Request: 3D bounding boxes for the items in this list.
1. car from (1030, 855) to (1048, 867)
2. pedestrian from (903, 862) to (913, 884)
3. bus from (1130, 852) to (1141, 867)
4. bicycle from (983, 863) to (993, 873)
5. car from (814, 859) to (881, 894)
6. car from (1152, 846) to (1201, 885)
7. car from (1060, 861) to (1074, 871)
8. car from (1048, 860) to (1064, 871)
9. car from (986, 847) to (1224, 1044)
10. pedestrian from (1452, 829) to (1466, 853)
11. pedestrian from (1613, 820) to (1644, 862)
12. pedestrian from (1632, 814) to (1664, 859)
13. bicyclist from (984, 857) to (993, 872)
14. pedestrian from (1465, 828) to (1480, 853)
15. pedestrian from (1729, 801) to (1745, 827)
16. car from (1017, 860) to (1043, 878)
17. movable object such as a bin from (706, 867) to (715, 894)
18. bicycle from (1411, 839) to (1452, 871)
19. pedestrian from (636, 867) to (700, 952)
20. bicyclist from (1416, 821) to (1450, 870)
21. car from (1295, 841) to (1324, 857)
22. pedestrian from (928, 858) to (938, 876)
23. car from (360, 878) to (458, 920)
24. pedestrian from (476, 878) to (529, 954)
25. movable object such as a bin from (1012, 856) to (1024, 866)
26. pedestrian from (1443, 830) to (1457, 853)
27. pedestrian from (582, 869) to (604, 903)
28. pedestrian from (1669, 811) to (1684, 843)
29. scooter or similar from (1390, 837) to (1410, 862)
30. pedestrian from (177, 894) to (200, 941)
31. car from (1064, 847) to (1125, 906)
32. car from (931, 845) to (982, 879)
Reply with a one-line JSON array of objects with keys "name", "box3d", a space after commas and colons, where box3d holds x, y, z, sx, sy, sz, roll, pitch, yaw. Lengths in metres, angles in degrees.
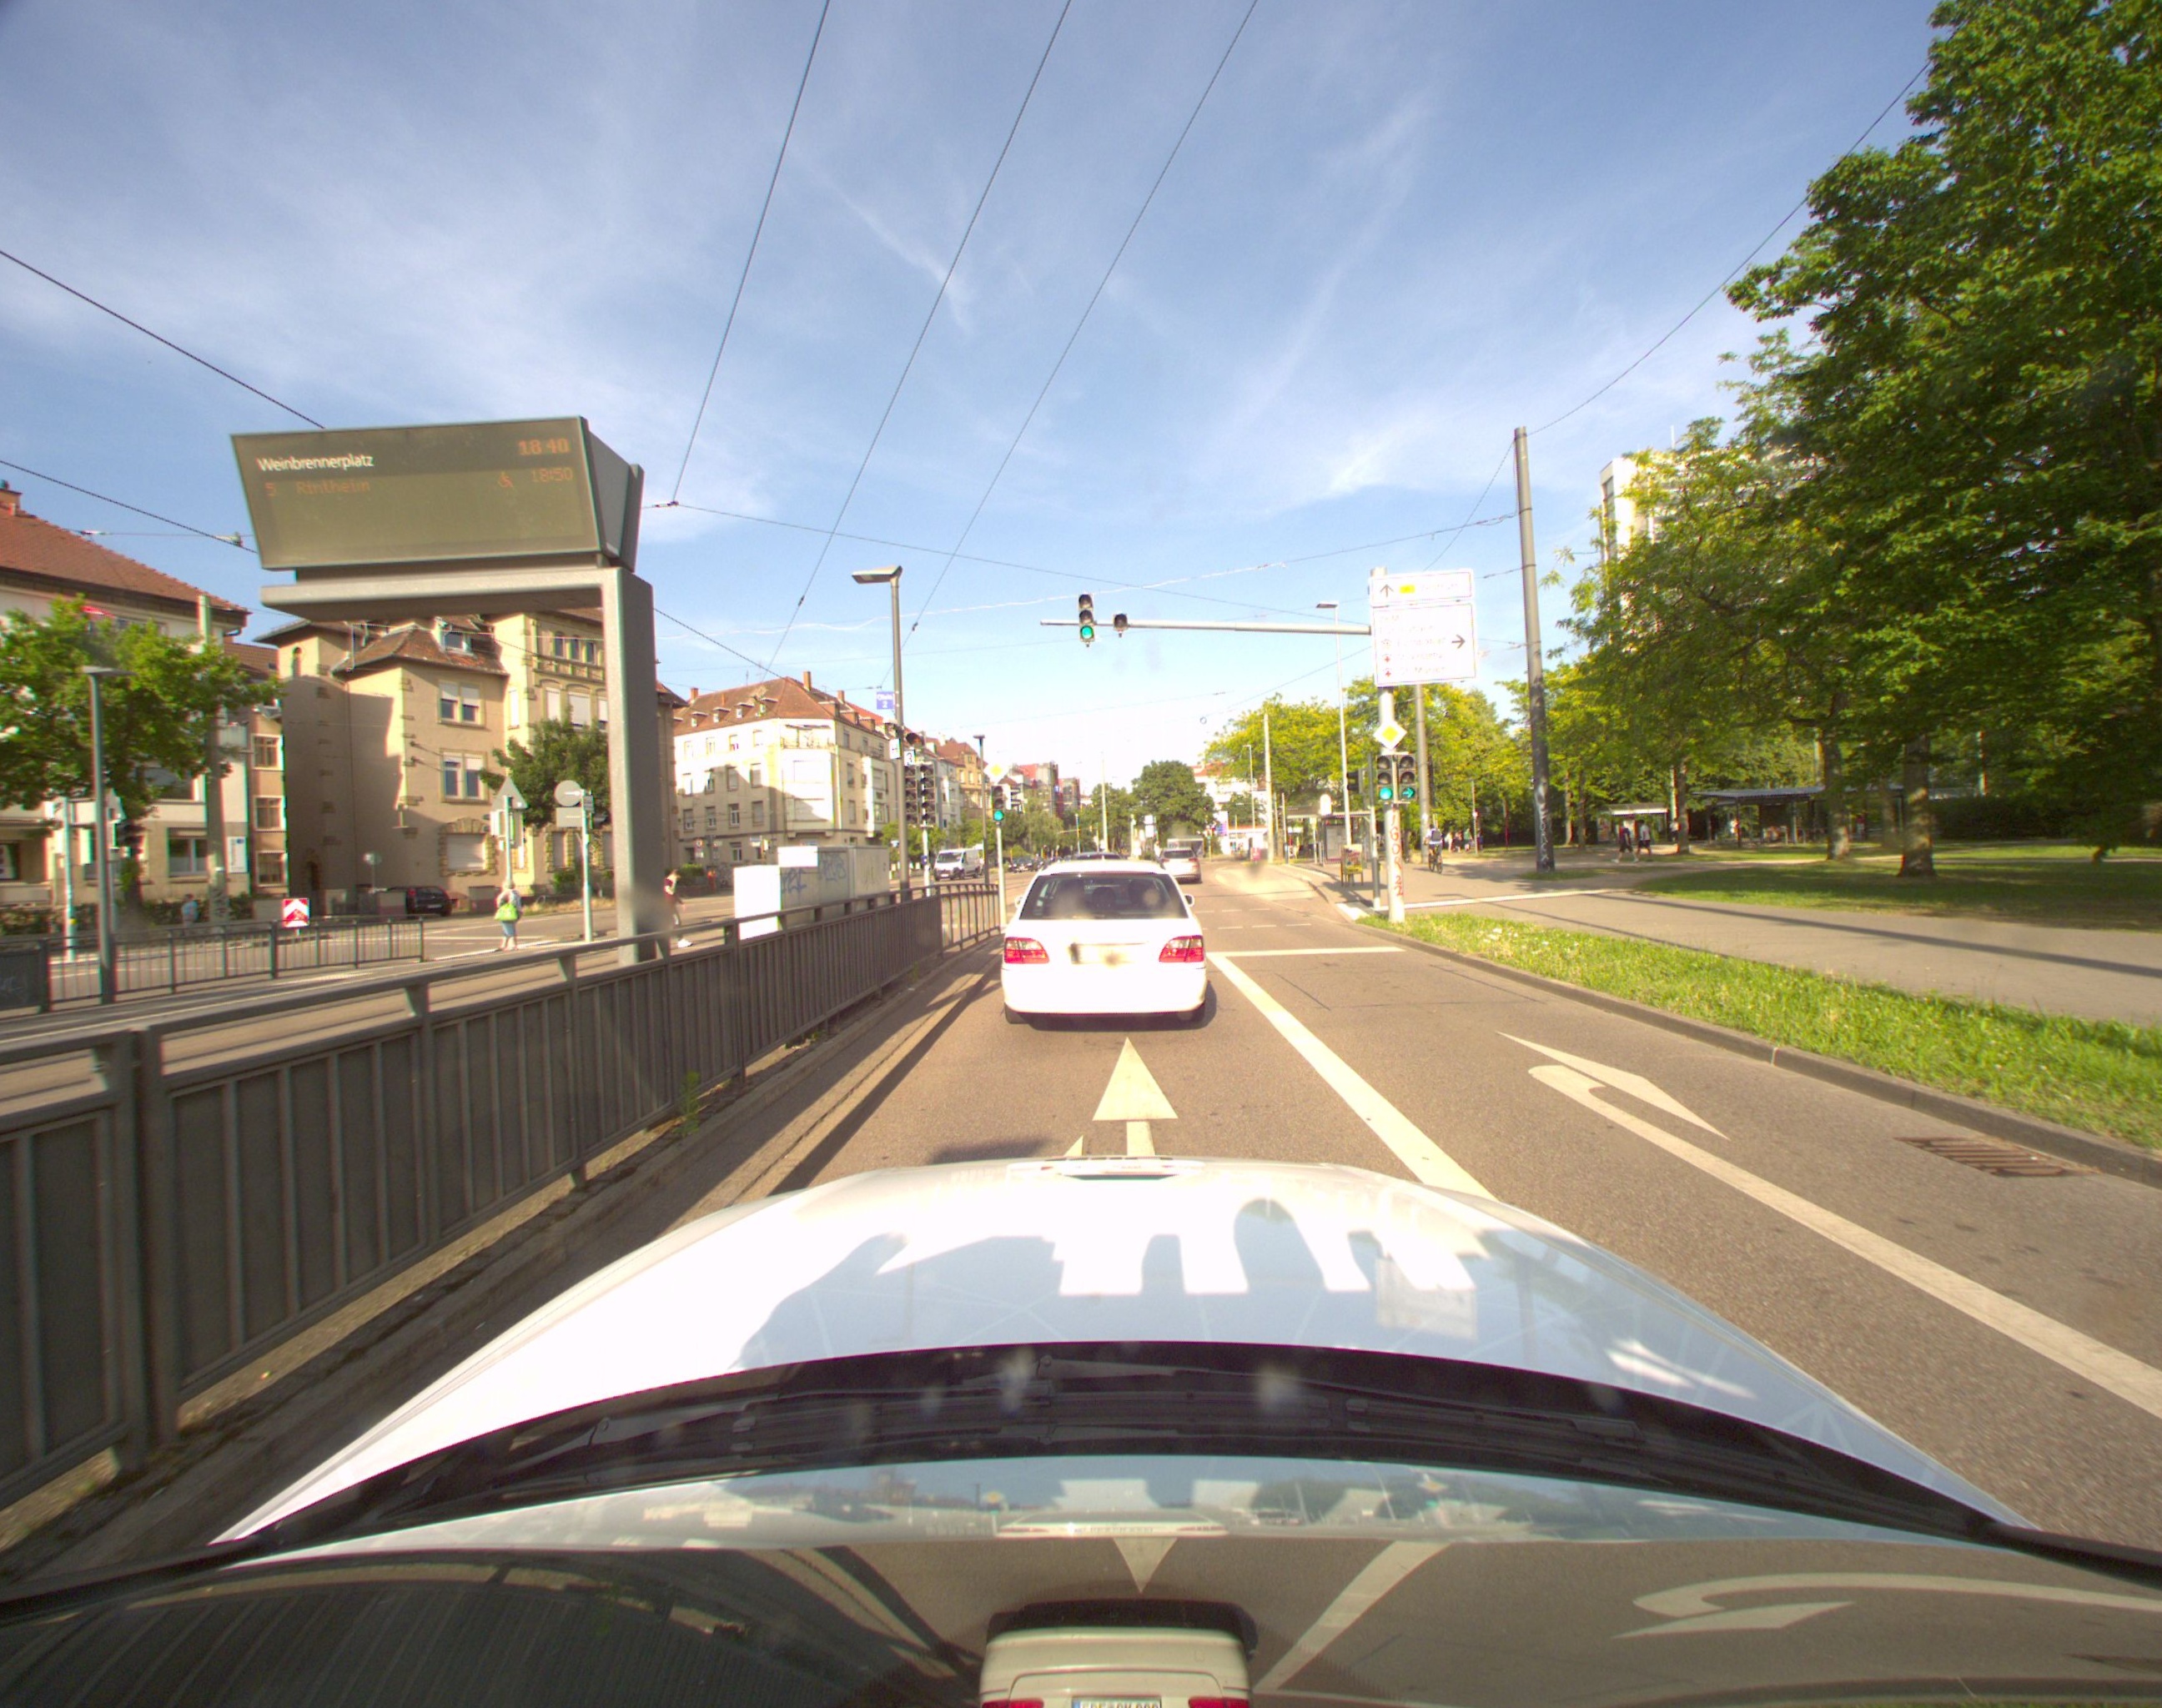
[{"name": "car", "box3d": [-5.305, 0.875, 103.195, 1.626, 1.433, 3.634, -3, 0, 6]}, {"name": "pedestrian", "box3d": [-14.758, 1.632, 69.473, 0.581, 1.881, 0.627, -3, 0, 5]}, {"name": "bus", "box3d": [9.500, 0.895, 141.221, 1.790, 2.555, 4.004, 0, -1, 4]}, {"name": "bicycle", "box3d": [-10.210, 1.564, 89.732, 0.765, 0.965, 2.036, -3, 0, 3]}, {"name": "car", "box3d": [-12.038, 1.128, 42.199, 1.667, 1.526, 4.135, -3, 1, 9]}, {"name": "car", "box3d": [4.209, 0.496, 36.309, 1.828, 1.600, 3.816, -1, 0, 2]}, {"name": "car", "box3d": [-2.137, 1.836, 126.563, 1.680, 1.420, 4.006, -3, -1, 5]}, {"name": "car", "box3d": [-3.557, 1.600, 117.452, 1.681, 1.441, 4.007, -3, 0, 6]}, {"name": "car", "box3d": [0.245, 0.715, 8.250, 1.828, 1.501, 3.816, -1, 0, 2]}, {"name": "pedestrian", "box3d": [27.100, -0.953, 58.401, 0.638, 1.665, 0.691, -3, 0, 1]}, {"name": "pedestrian", "box3d": [23.437, -0.565, 34.888, 0.673, 1.777, 0.875, 0, 0, -18]}, {"name": "pedestrian", "box3d": [24.311, -0.740, 34.929, 0.674, 1.897, 0.872, 0, -1, -26]}, {"name": "bicyclist", "box3d": [-10.221, 1.150, 89.917, 0.757, 1.668, 1.168, -3, 0, 3]}, {"name": "pedestrian", "box3d": [27.603, -0.947, 57.428, 0.638, 1.665, 0.691, -3, 0, 1]}, {"name": "pedestrian", "box3d": [47.537, -2.882, 59.036, 0.666, 1.800, 0.613, -1, -1, 15]}, {"name": "car", "box3d": [-4.931, 1.458, 79.240, 1.758, 1.494, 4.752, -3, 1, 6]}, {"name": "movable object such as a bin", "box3d": [-23.713, 1.690, 52.090, 0.265, 1.709, 2.360, -3, 0, -29]}, {"name": "bicycle", "box3d": [13.121, 0.039, 30.519, 0.638, 1.088, 1.940, -5, 0, 1]}, {"name": "pedestrian", "box3d": [-8.573, 1.140, 16.924, 0.876, 1.670, 0.672, -3, 0, 4]}, {"name": "bicyclist", "box3d": [13.084, -0.316, 30.305, 0.647, 1.745, 1.140, -6, -1, 1]}, {"name": "car", "box3d": [25.011, -0.538, 89.082, 1.835, 1.515, 4.026, -4, -1, 32]}, {"name": "pedestrian", "box3d": [-14.765, 1.277, 81.215, 0.635, 1.751, 0.913, -3, 0, 5]}, {"name": "car", "box3d": [-29.636, 1.986, 35.930, 3.950, 1.632, 1.787, -3, 0, 26]}, {"name": "pedestrian", "box3d": [-12.684, 1.349, 17.864, 0.588, 1.589, 0.715, -3, 0, -2]}, {"name": "movable object such as a bin", "box3d": [-9.217, 1.032, 118.862, 1.600, 1.421, 1.082, -3, 0, -6]}, {"name": "pedestrian", "box3d": [26.874, -0.887, 59.301, 0.638, 1.610, 0.691, -3, 0, 1]}, {"name": "pedestrian", "box3d": [-23.875, 1.559, 39.827, 0.672, 1.651, 0.608, -3, -1, 28]}, {"name": "pedestrian", "box3d": [35.898, -1.616, 49.097, 0.463, 1.868, 0.600, 0, -1, -28]}, {"name": "scooter or similar", "box3d": [15.923, -0.228, 40.671, 0.351, 1.232, 1.131, -3, 0, -12]}, {"name": "pedestrian", "box3d": [-29.568, 2.098, 26.974, 0.400, 1.516, 0.392, -3, 0, 28]}, {"name": "car", "box3d": [0.434, 0.621, 24.346, 1.635, 1.600, 3.816, -1, 0, 2]}, {"name": "car", "box3d": [-8.864, 0.536, 58.504, 2.165, 2.239, 5.265, -3, 0, 8]}]
